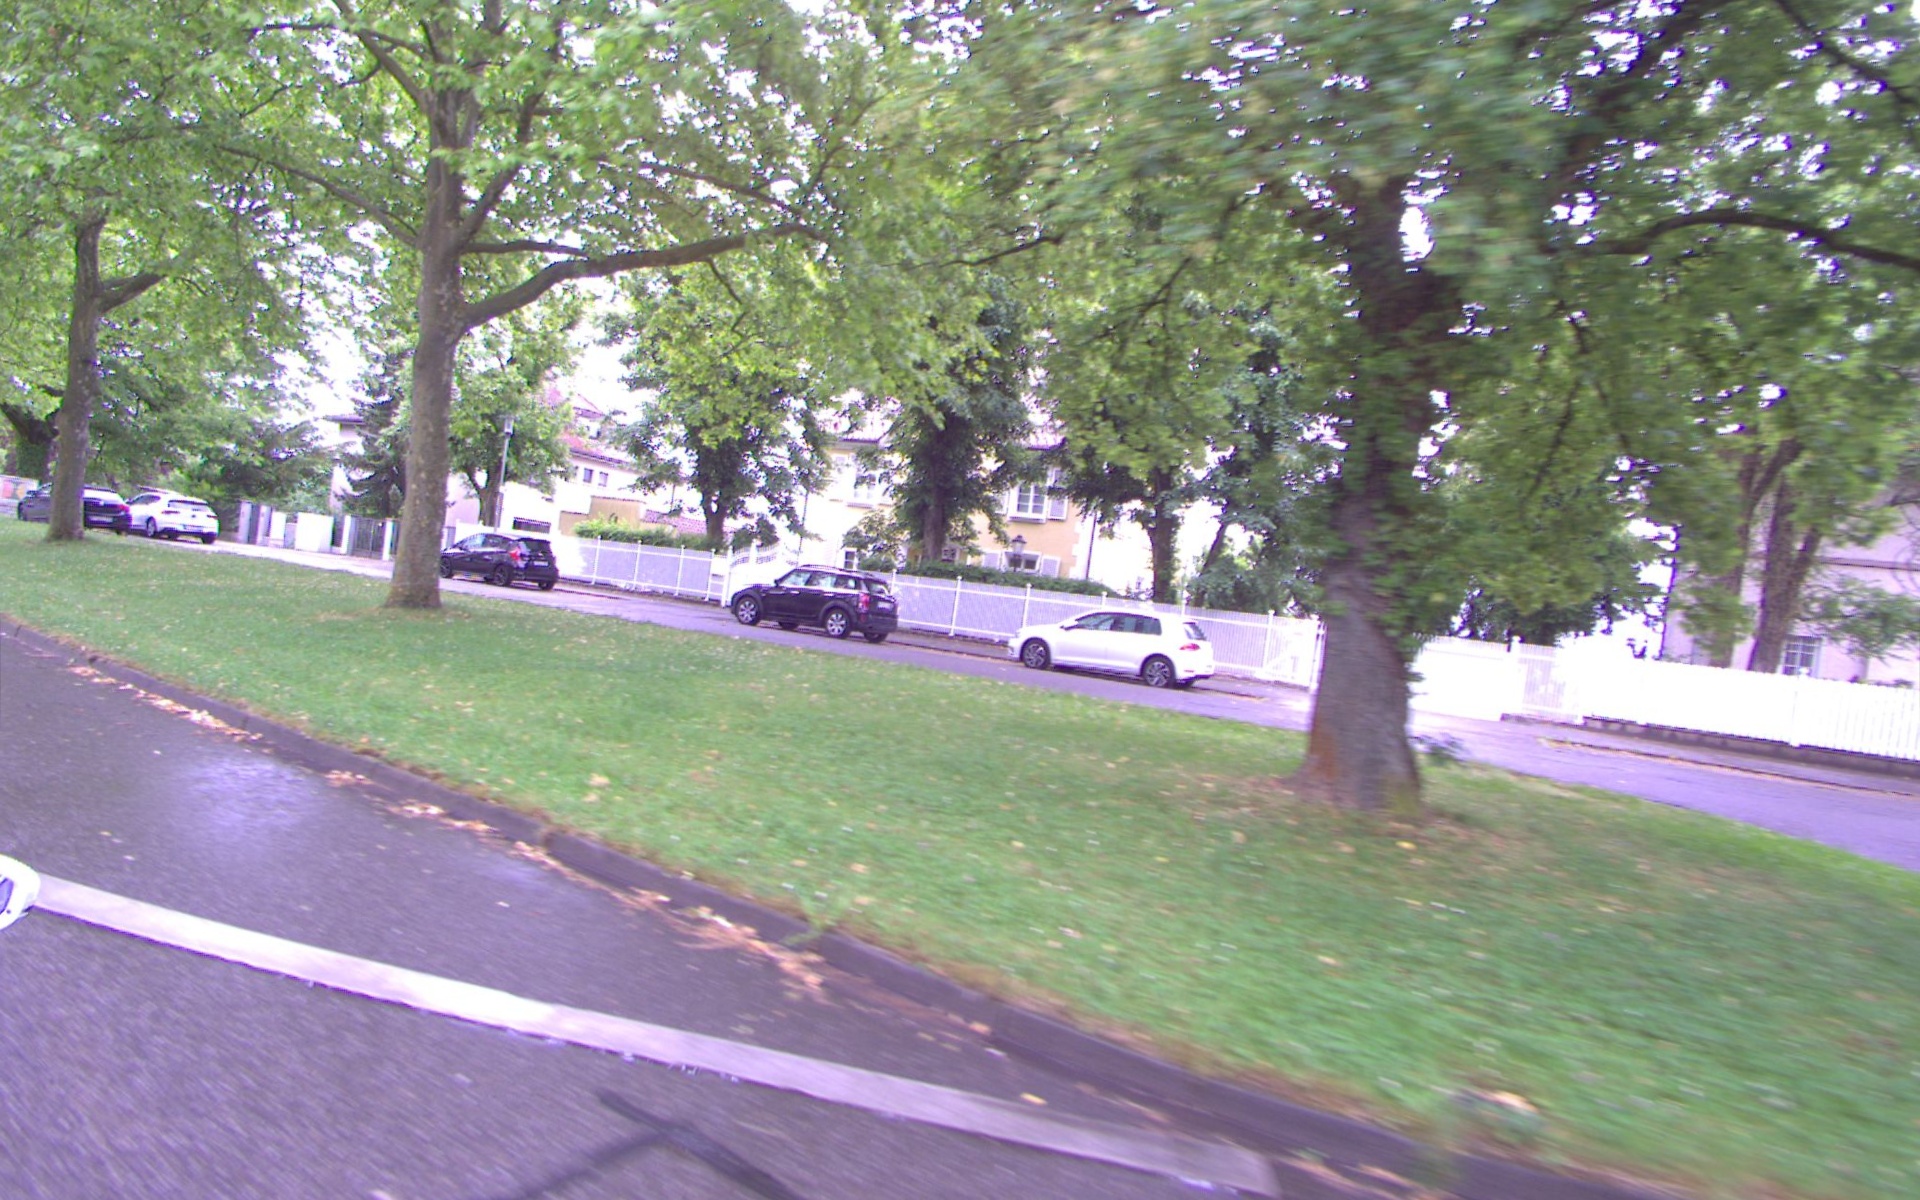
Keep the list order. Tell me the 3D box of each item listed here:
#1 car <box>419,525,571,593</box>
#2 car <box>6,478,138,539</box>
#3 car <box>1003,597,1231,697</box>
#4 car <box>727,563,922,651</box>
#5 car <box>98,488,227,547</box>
[{"bbox_3d":[-13.753,-1.222,29.711,4.282,1.489,1.764,6,-1,28],"label":"car"},{"bbox_3d":[-27.625,-2.858,31.253,4.521,1.490,1.765,6,1,31],"label":"car"},{"bbox_3d":[3.194,0.955,20.559,4.053,1.465,1.999,6,-2,28],"label":"car"},{"bbox_3d":[-3.211,0.160,23.801,4.053,1.488,1.999,6,-2,28],"label":"car"},{"bbox_3d":[-26.557,-2.745,33.483,4.351,1.489,1.847,6,1,30],"label":"car"}]
